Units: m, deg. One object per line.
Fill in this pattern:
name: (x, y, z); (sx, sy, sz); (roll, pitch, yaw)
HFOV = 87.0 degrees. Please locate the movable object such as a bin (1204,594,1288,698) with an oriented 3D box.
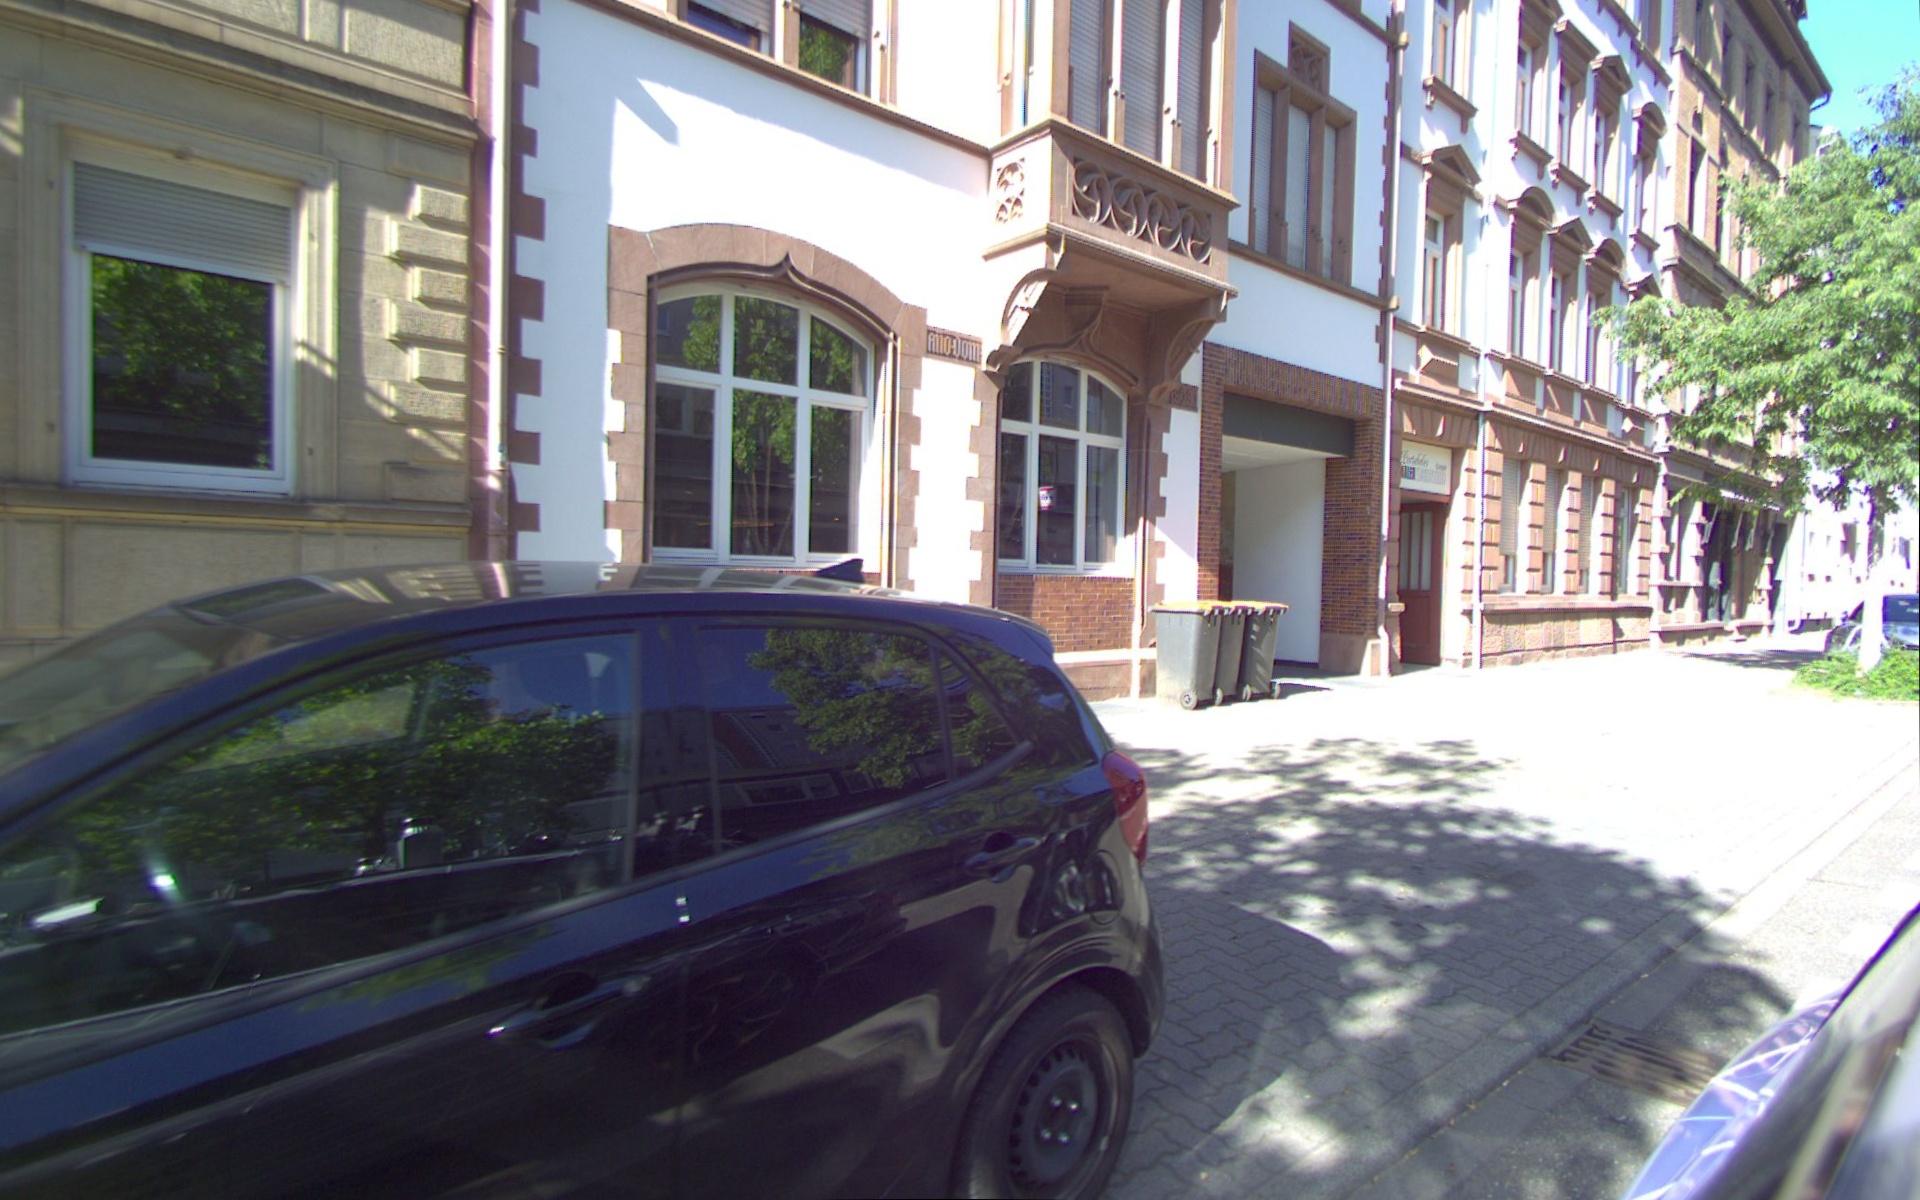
movable object such as a bin: (3.160, 0.485, 11.183); (0.628, 1.082, 0.639); (0, 2, -40)

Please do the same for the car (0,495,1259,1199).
car: (-1.111, 0.600, 1.996); (3.519, 1.494, 1.638); (0, 3, -42)

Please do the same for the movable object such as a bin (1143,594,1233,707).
movable object such as a bin: (2.337, 0.495, 10.396); (0.621, 1.082, 0.639); (0, 2, -40)

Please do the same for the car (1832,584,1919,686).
car: (15.550, 0.513, 16.230); (4.232, 1.469, 1.742); (0, 2, -41)

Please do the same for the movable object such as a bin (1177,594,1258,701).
movable object such as a bin: (2.746, 0.491, 10.816); (0.512, 1.082, 0.639); (0, 2, -40)
